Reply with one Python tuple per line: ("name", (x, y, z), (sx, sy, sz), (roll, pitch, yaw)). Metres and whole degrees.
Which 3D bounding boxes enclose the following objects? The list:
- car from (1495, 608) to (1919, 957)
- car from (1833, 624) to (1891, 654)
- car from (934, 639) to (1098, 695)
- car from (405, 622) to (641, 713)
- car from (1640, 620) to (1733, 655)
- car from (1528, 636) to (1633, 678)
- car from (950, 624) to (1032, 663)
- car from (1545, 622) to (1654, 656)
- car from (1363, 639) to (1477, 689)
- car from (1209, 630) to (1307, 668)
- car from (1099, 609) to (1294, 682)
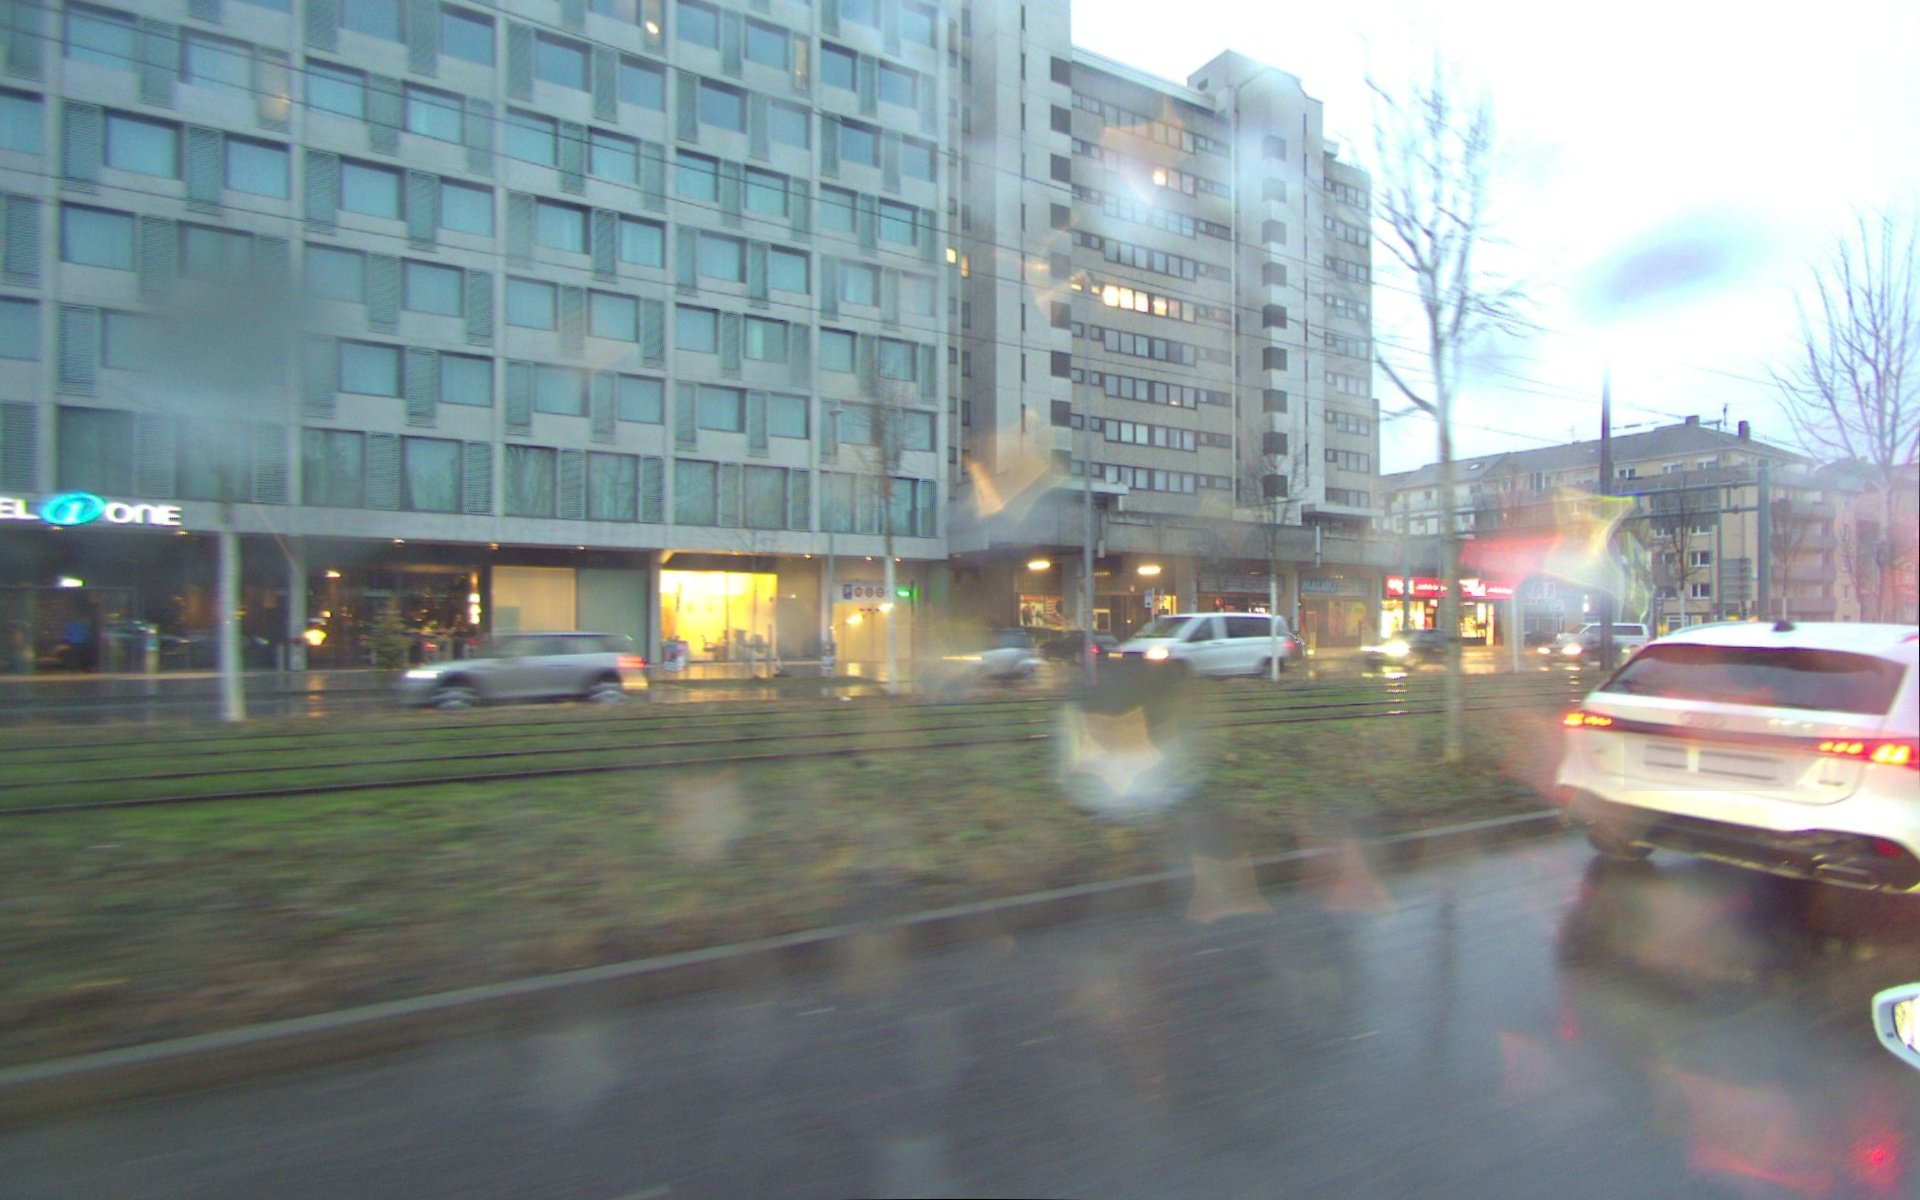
("car", (5.481, 0.806, 6.102), (4.560, 1.424, 1.837), (1, 0, -30))
("car", (59.842, 2.570, 66.605), (5.116, 1.937, 1.979), (1, -2, -38))
("car", (1.722, 1.980, 30.404), (4.736, 1.536, 1.887), (1, -2, -31))
("car", (-7.768, 1.133, 17.898), (3.664, 1.450, 1.886), (1, -2, -31))
("car", (37.121, 1.898, 51.316), (4.852, 1.742, 1.889), (1, -1, -27))
("car", (27.470, 2.468, 44.406), (4.858, 1.742, 1.887), (1, -1, -30))
("car", (1.394, 1.960, 46.518), (1.709, 1.718, 4.336), (1, -1, -32))
("car", (37.642, 2.280, 59.278), (5.059, 1.937, 2.001), (-1, -2, 15))
("car", (18.245, 2.479, 39.804), (4.477, 1.837, 1.887), (1, -1, -30))
("car", (13.313, 2.166, 44.821), (3.924, 1.405, 1.935), (2, 0, 25))
("car", (6.160, 1.130, 25.976), (5.059, 1.741, 1.886), (1, -2, -31))
